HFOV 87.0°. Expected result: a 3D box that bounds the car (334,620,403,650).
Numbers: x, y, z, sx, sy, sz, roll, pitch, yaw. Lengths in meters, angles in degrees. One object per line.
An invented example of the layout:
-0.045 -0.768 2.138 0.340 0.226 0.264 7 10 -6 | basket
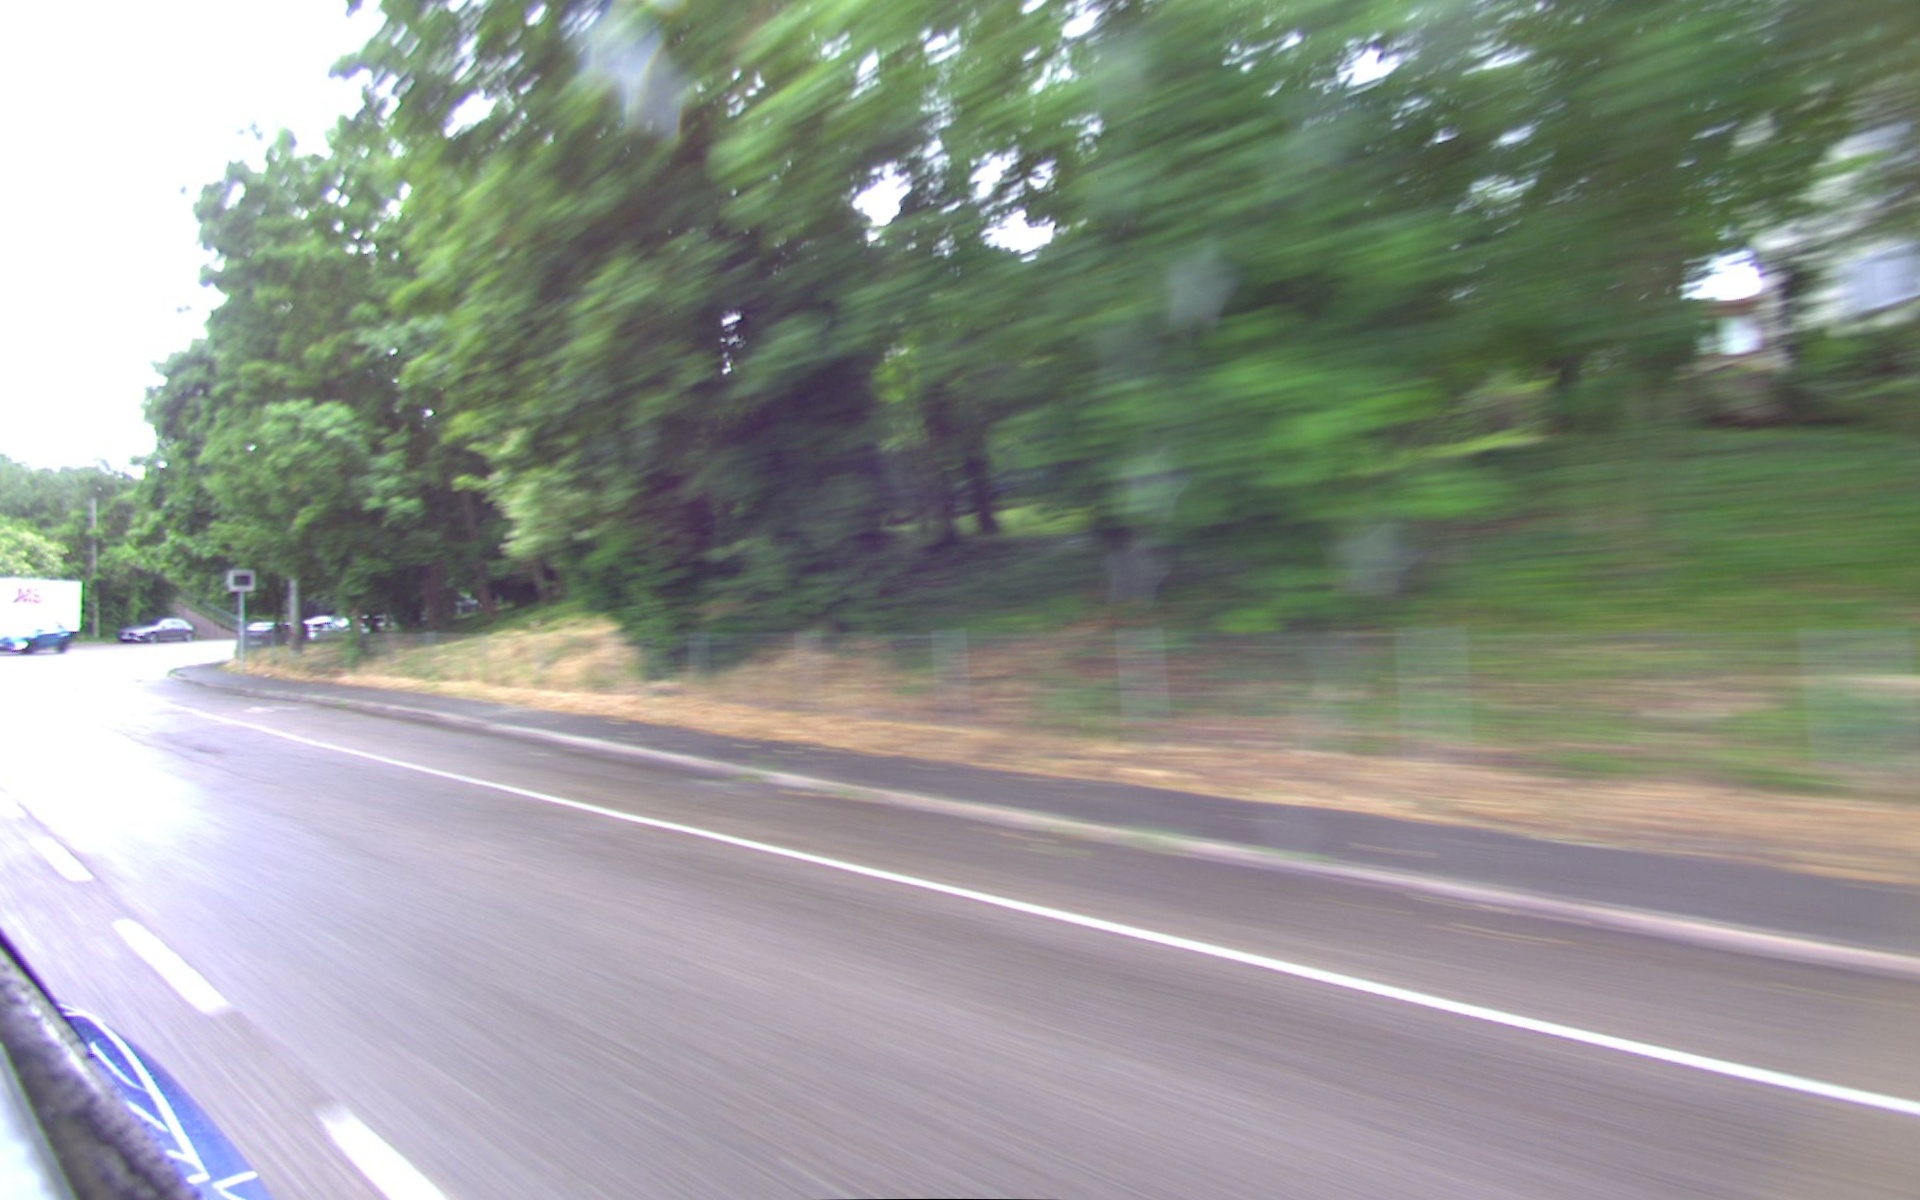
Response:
-36.065 2.123 61.813 1.785 1.594 4.023 0 1 1 | car

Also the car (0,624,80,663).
-42.415 1.934 45.768 1.967 1.683 4.541 0 -2 -12 | car

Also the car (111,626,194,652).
-48.604 2.308 61.019 1.702 1.455 4.123 -1 -1 1 | car

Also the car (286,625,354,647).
-46.839 2.623 74.111 1.745 1.411 4.074 -3 -1 16 | car

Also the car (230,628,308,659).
-35.097 2.181 51.498 1.750 1.454 4.024 0 0 -9 | car

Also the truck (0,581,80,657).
-47.586 0.921 49.640 2.967 3.601 8.356 0 0 -11 | truck

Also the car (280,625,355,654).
-35.846 2.198 56.580 1.732 1.467 4.048 0 0 -1 | car

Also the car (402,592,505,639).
-34.026 0.998 68.286 2.066 2.565 6.309 14 4 17 | car
